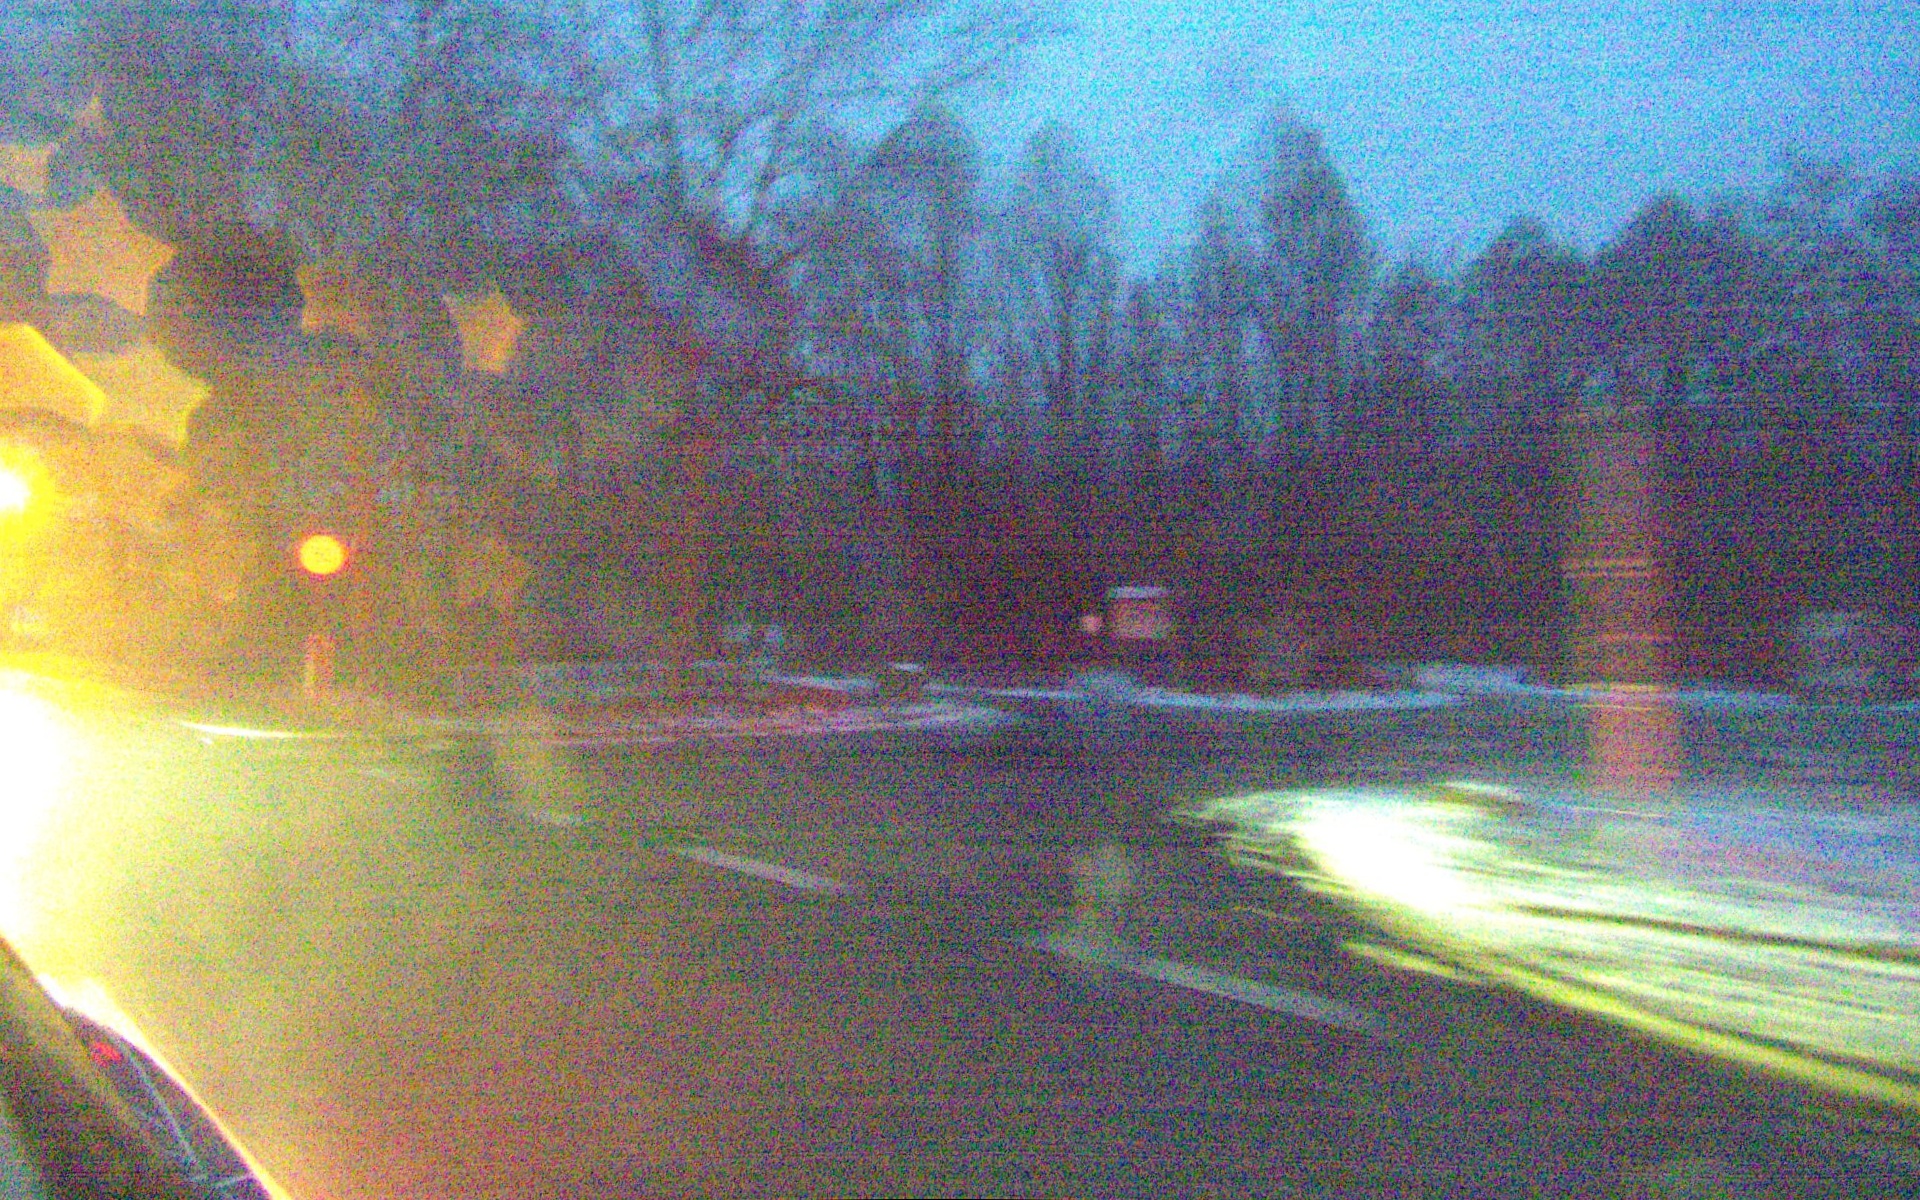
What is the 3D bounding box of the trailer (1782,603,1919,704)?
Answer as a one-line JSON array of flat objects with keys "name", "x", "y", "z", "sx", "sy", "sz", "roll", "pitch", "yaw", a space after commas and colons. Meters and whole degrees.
[{"name": "trailer", "x": 21.616, "y": 1.287, "z": 24.098, "sx": 3.745, "sy": 2.235, "sz": 1.980, "roll": 3, "pitch": -3, "yaw": -30}]
